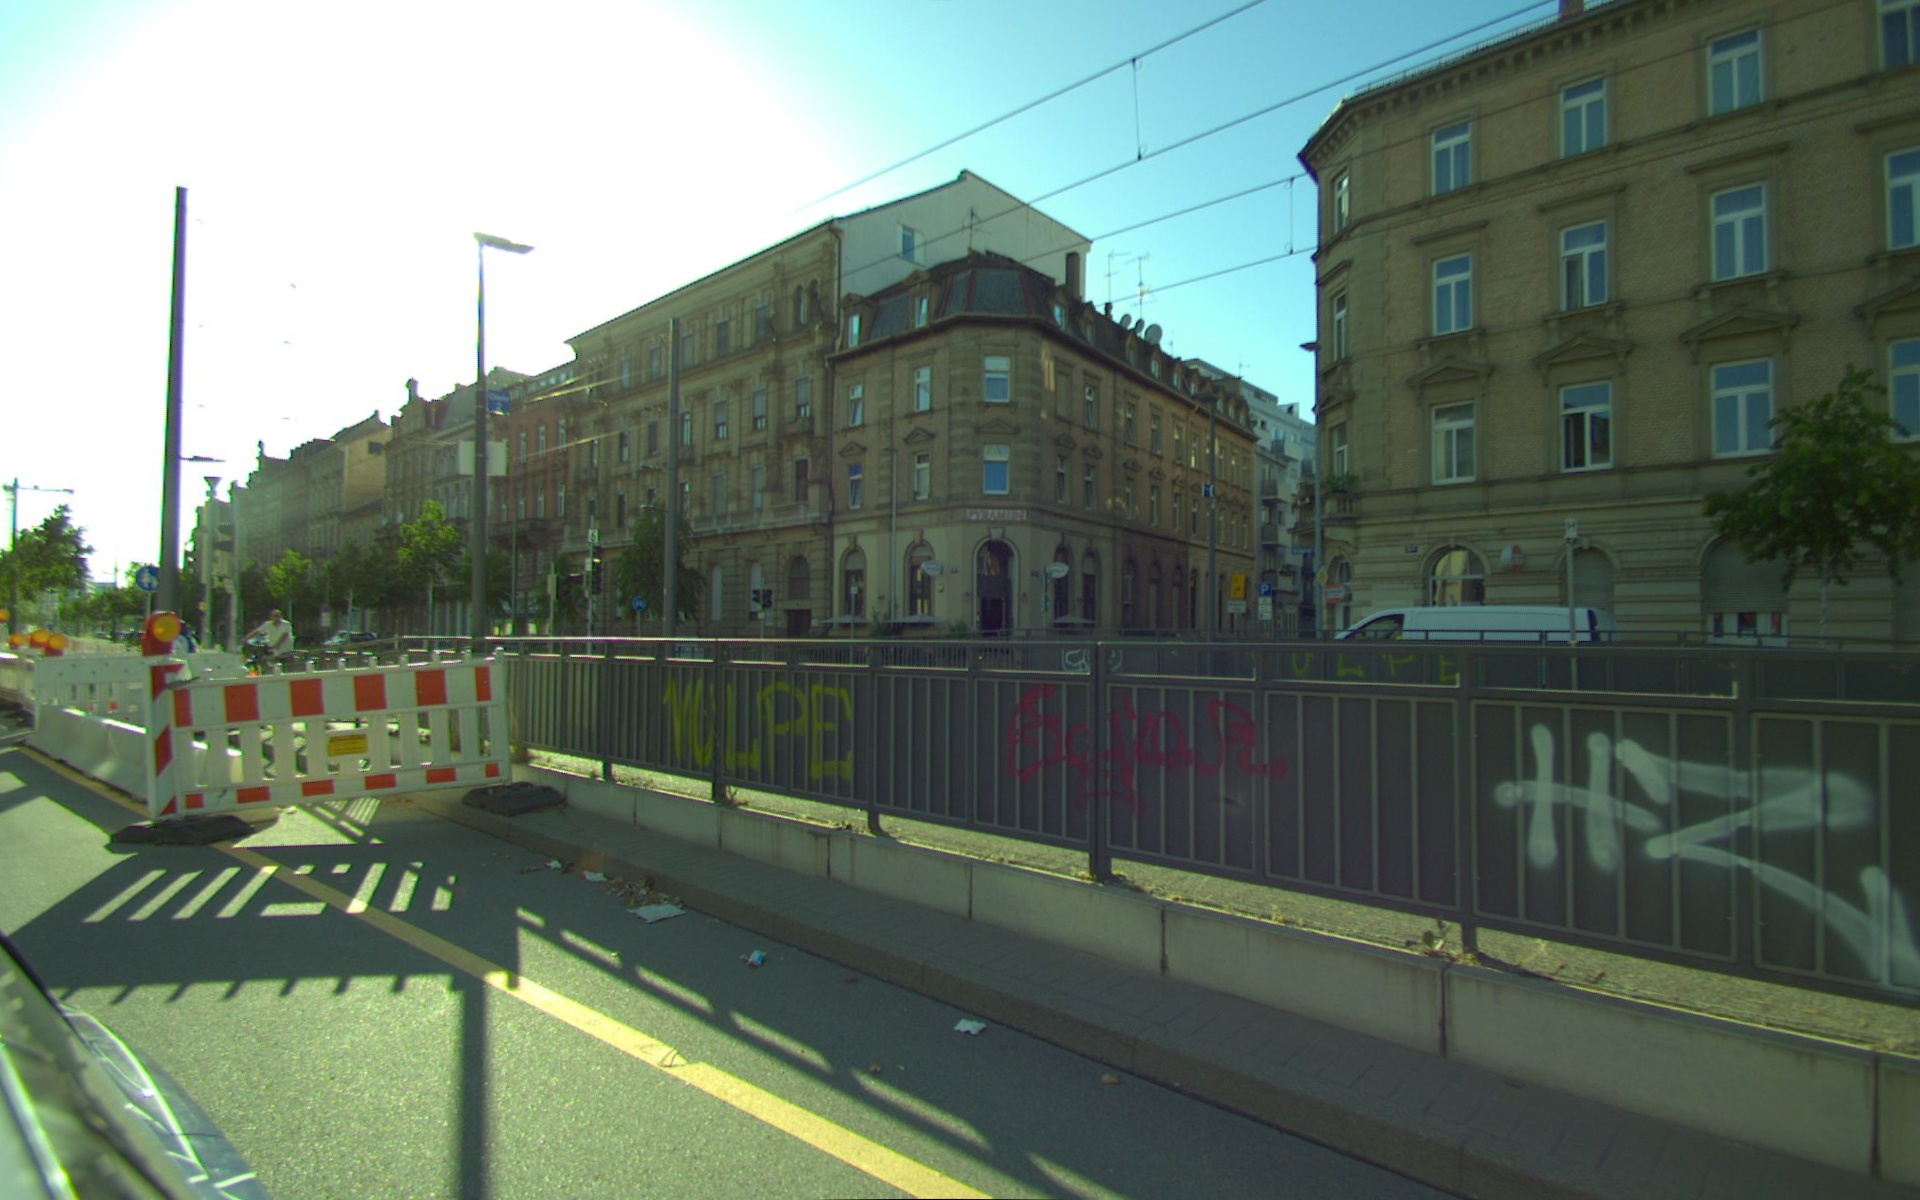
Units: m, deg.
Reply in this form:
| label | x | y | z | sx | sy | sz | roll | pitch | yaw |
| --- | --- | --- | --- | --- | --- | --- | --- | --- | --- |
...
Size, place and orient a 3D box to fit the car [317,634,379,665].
| label | x | y | z | sx | sy | sz | roll | pitch | yaw |
| --- | --- | --- | --- | --- | --- | --- | --- | --- | --- |
| car | -33.198 | 2.654 | 54.866 | 4.478 | 1.652 | 1.776 | -2 | -3 | 44 |

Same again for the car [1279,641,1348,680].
| label | x | y | z | sx | sy | sz | roll | pitch | yaw |
| --- | --- | --- | --- | --- | --- | --- | --- | --- | --- |
| car | 14.888 | 2.514 | 42.518 | 1.822 | 1.530 | 3.954 | -1 | -3 | 34 |

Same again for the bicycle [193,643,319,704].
| label | x | y | z | sx | sy | sz | roll | pitch | yaw |
| --- | --- | --- | --- | --- | --- | --- | --- | --- | --- |
| bicycle | -14.268 | 1.463 | 20.578 | 0.849 | 1.162 | 1.986 | -1 | -2 | 17 |

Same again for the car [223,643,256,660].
| label | x | y | z | sx | sy | sz | roll | pitch | yaw |
| --- | --- | --- | --- | --- | --- | --- | --- | --- | --- |
| car | -65.782 | 4.668 | 92.382 | 4.029 | 1.490 | 1.729 | -2 | -1 | 44 |

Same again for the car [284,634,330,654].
| label | x | y | z | sx | sy | sz | roll | pitch | yaw |
| --- | --- | --- | --- | --- | --- | --- | --- | --- | --- |
| car | -50.395 | 3.417 | 78.072 | 4.308 | 1.449 | 1.972 | -2 | -1 | 43 |

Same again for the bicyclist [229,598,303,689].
| label | x | y | z | sx | sy | sz | roll | pitch | yaw |
| --- | --- | --- | --- | --- | --- | --- | --- | --- | --- |
| bicyclist | -14.100 | 0.879 | 20.572 | 0.849 | 1.787 | 0.880 | -1 | -2 | 17 |

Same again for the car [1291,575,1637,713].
| label | x | y | z | sx | sy | sz | roll | pitch | yaw |
| --- | --- | --- | --- | --- | --- | --- | --- | --- | --- |
| car | 7.892 | 0.638 | 16.104 | 4.581 | 1.895 | 1.973 | -1 | -1 | 41 |

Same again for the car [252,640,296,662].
| label | x | y | z | sx | sy | sz | roll | pitch | yaw |
| --- | --- | --- | --- | --- | --- | --- | --- | --- | --- |
| car | -56.508 | 4.192 | 83.334 | 4.888 | 1.711 | 1.972 | -2 | -1 | 43 |

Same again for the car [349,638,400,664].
| label | x | y | z | sx | sy | sz | roll | pitch | yaw |
| --- | --- | --- | --- | --- | --- | --- | --- | --- | --- |
| car | -39.539 | 3.411 | 68.343 | 1.916 | 1.671 | 4.547 | 0 | -1 | -45 |

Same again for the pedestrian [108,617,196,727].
| label | x | y | z | sx | sy | sz | roll | pitch | yaw |
| --- | --- | --- | --- | --- | --- | --- | --- | --- | --- |
| pedestrian | -11.254 | 0.980 | 14.096 | 0.946 | 1.469 | 0.781 | -2 | -3 | 42 |

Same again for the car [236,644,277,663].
| label | x | y | z | sx | sy | sz | roll | pitch | yaw |
| --- | --- | --- | --- | --- | --- | --- | --- | --- | --- |
| car | -60.978 | 4.601 | 87.727 | 4.985 | 1.549 | 1.971 | -2 | -1 | 44 |
